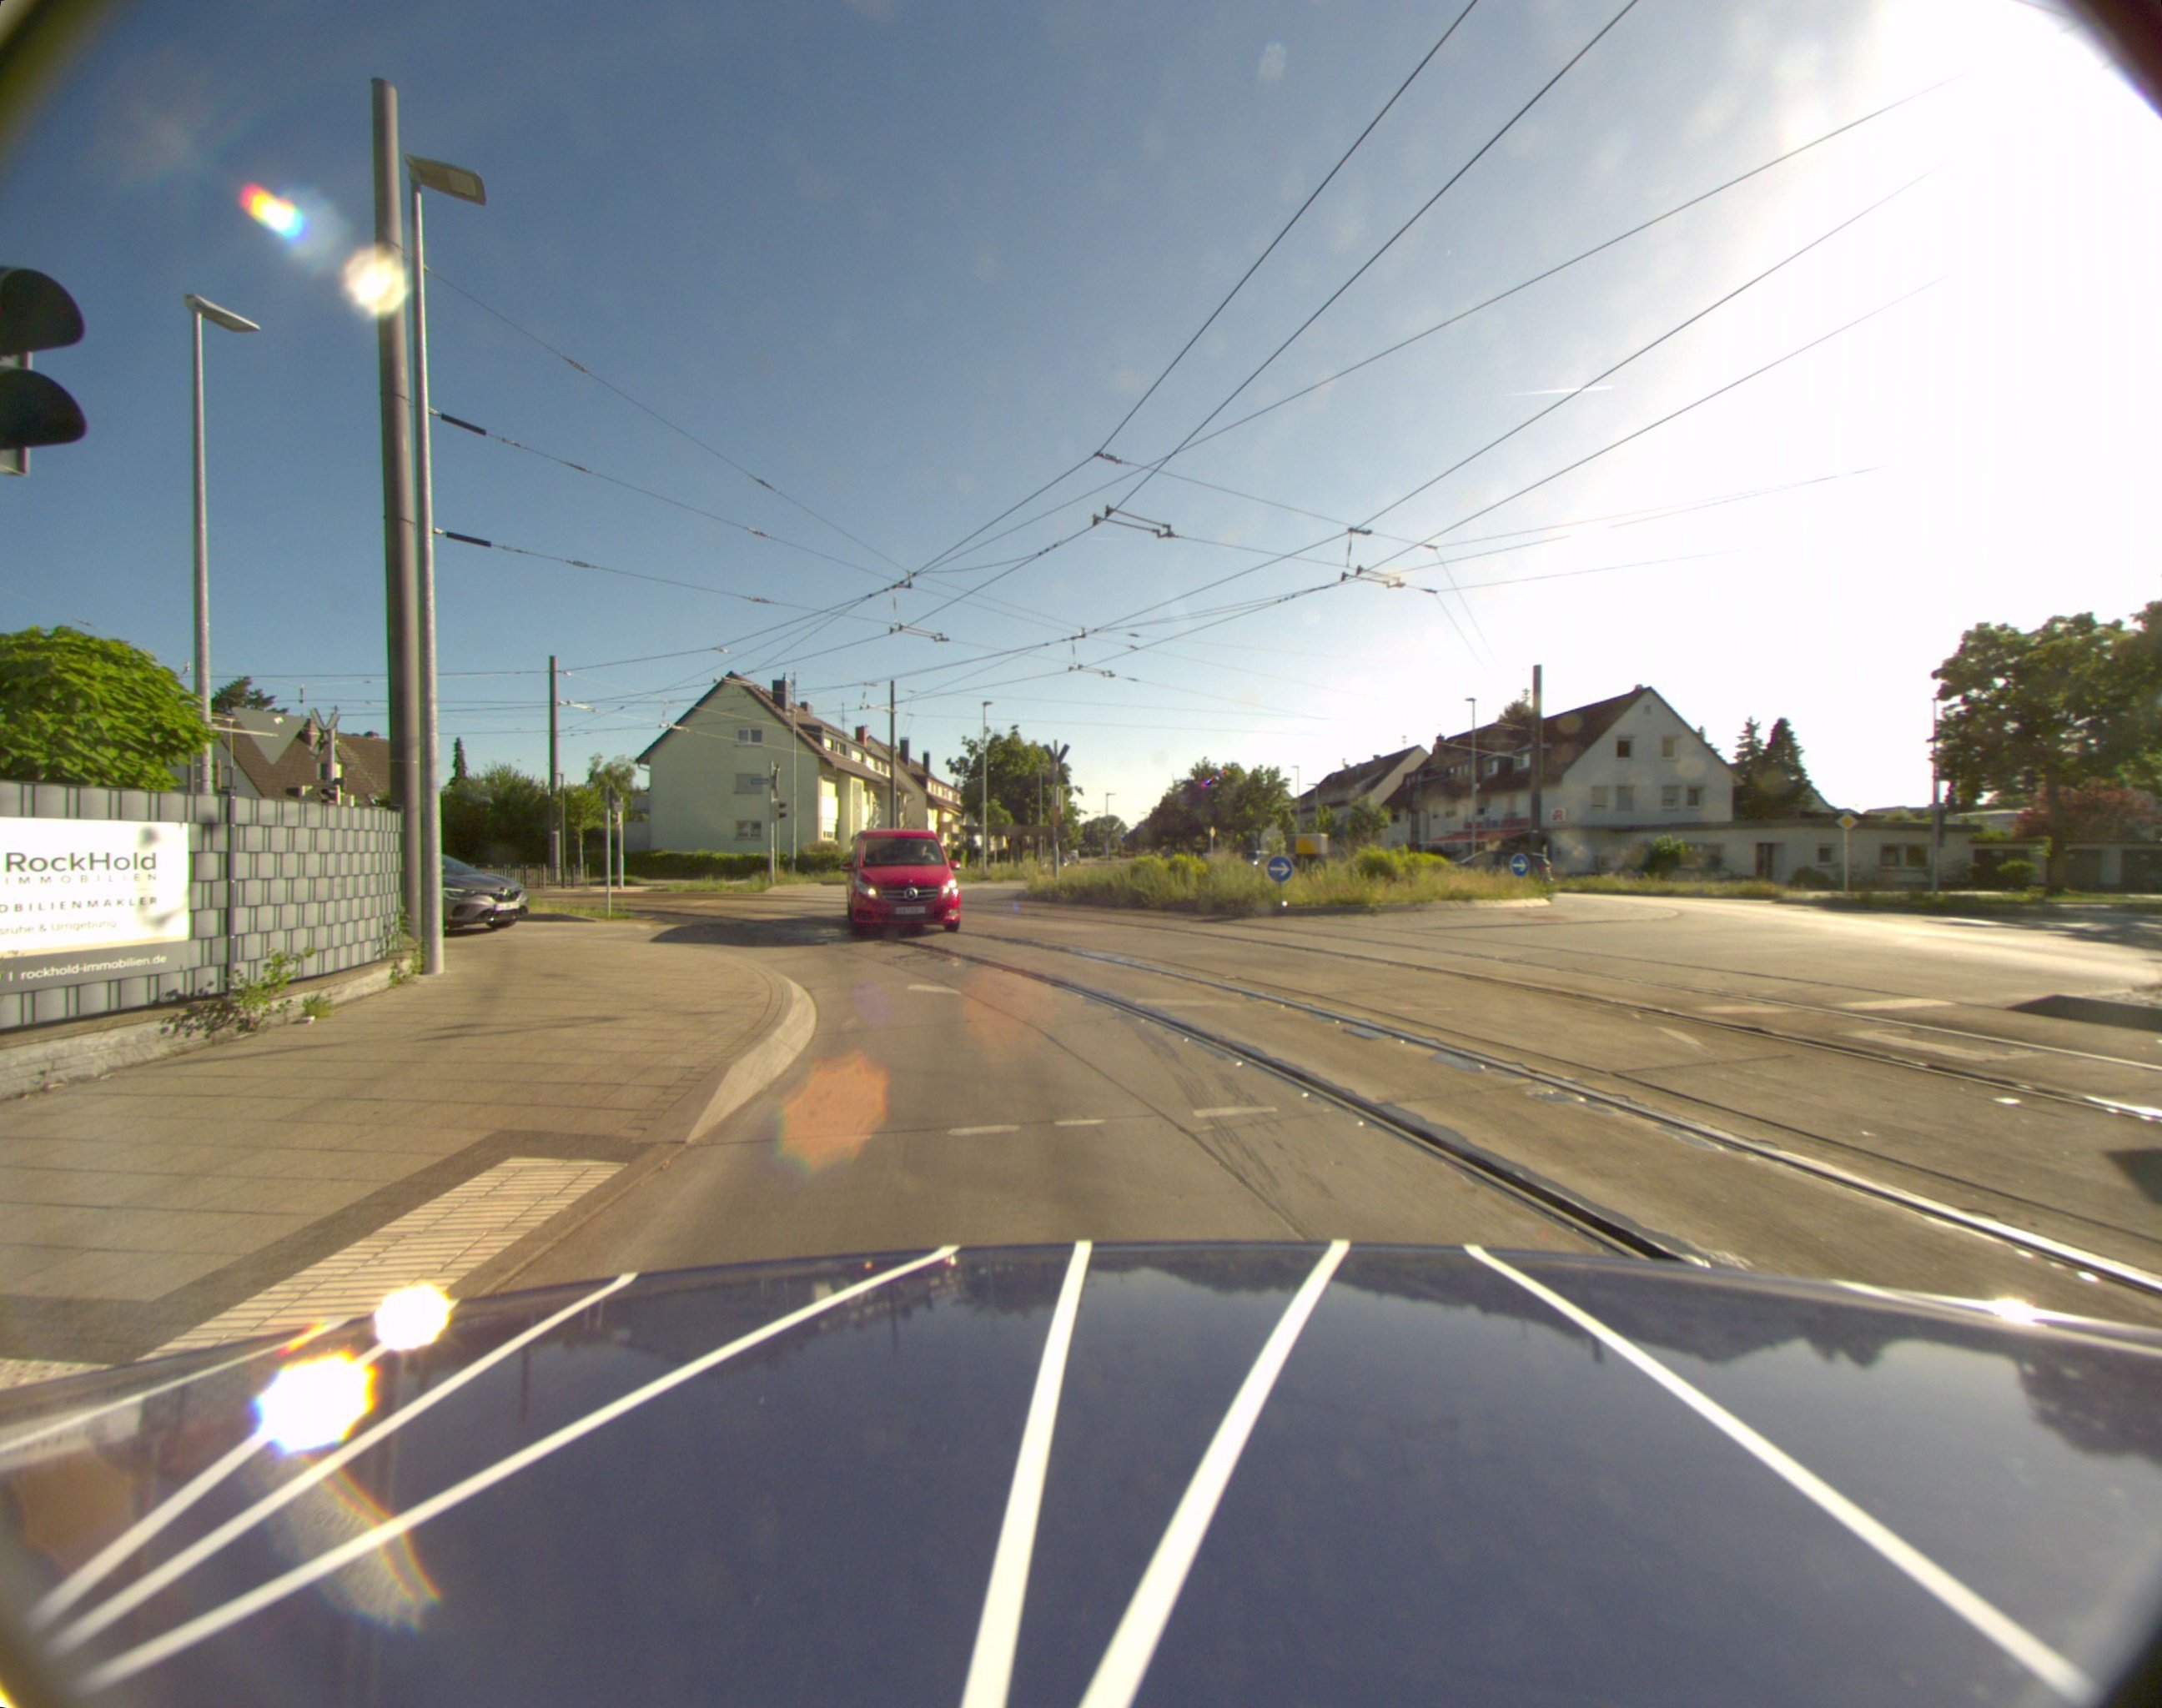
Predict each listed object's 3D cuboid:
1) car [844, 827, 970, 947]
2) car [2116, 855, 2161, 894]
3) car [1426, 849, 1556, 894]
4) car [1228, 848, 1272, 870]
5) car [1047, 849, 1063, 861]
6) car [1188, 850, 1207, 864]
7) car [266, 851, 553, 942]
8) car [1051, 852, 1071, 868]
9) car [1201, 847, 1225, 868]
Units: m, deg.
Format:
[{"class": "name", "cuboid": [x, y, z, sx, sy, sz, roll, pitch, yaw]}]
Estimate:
[{"class": "car", "cuboid": [-3.735, 0.521, 15.510, 2.001, 1.970, 5.229, -2, 1, -18]}, {"class": "car", "cuboid": [48.747, 0.955, 33.127, 1.997, 1.685, 4.053, 1, 2, 10]}, {"class": "car", "cuboid": [16.339, 0.647, 30.388, 4.428, 1.572, 1.840, 2, 3, 30]}, {"class": "car", "cuboid": [13.209, 0.348, 59.321, 3.069, 1.611, 1.413, 2, 3, 30]}, {"class": "car", "cuboid": [-3.145, 0.101, 92.481, 1.825, 1.384, 3.869, 0, 0, 1]}, {"class": "car", "cuboid": [13.533, 0.327, 88.522, 1.544, 1.582, 4.076, 0, 1, -1]}, {"class": "car", "cuboid": [-12.591, 0.742, 14.403, 3.995, 1.570, 1.832, 0, 1, 5]}, {"class": "car", "cuboid": [-2.002, 0.568, 76.023, 1.825, 1.385, 3.789, 0, 2, 1]}, {"class": "car", "cuboid": [14.242, 0.340, 82.220, 1.895, 2.003, 4.369, 0, 2, 0]}]
